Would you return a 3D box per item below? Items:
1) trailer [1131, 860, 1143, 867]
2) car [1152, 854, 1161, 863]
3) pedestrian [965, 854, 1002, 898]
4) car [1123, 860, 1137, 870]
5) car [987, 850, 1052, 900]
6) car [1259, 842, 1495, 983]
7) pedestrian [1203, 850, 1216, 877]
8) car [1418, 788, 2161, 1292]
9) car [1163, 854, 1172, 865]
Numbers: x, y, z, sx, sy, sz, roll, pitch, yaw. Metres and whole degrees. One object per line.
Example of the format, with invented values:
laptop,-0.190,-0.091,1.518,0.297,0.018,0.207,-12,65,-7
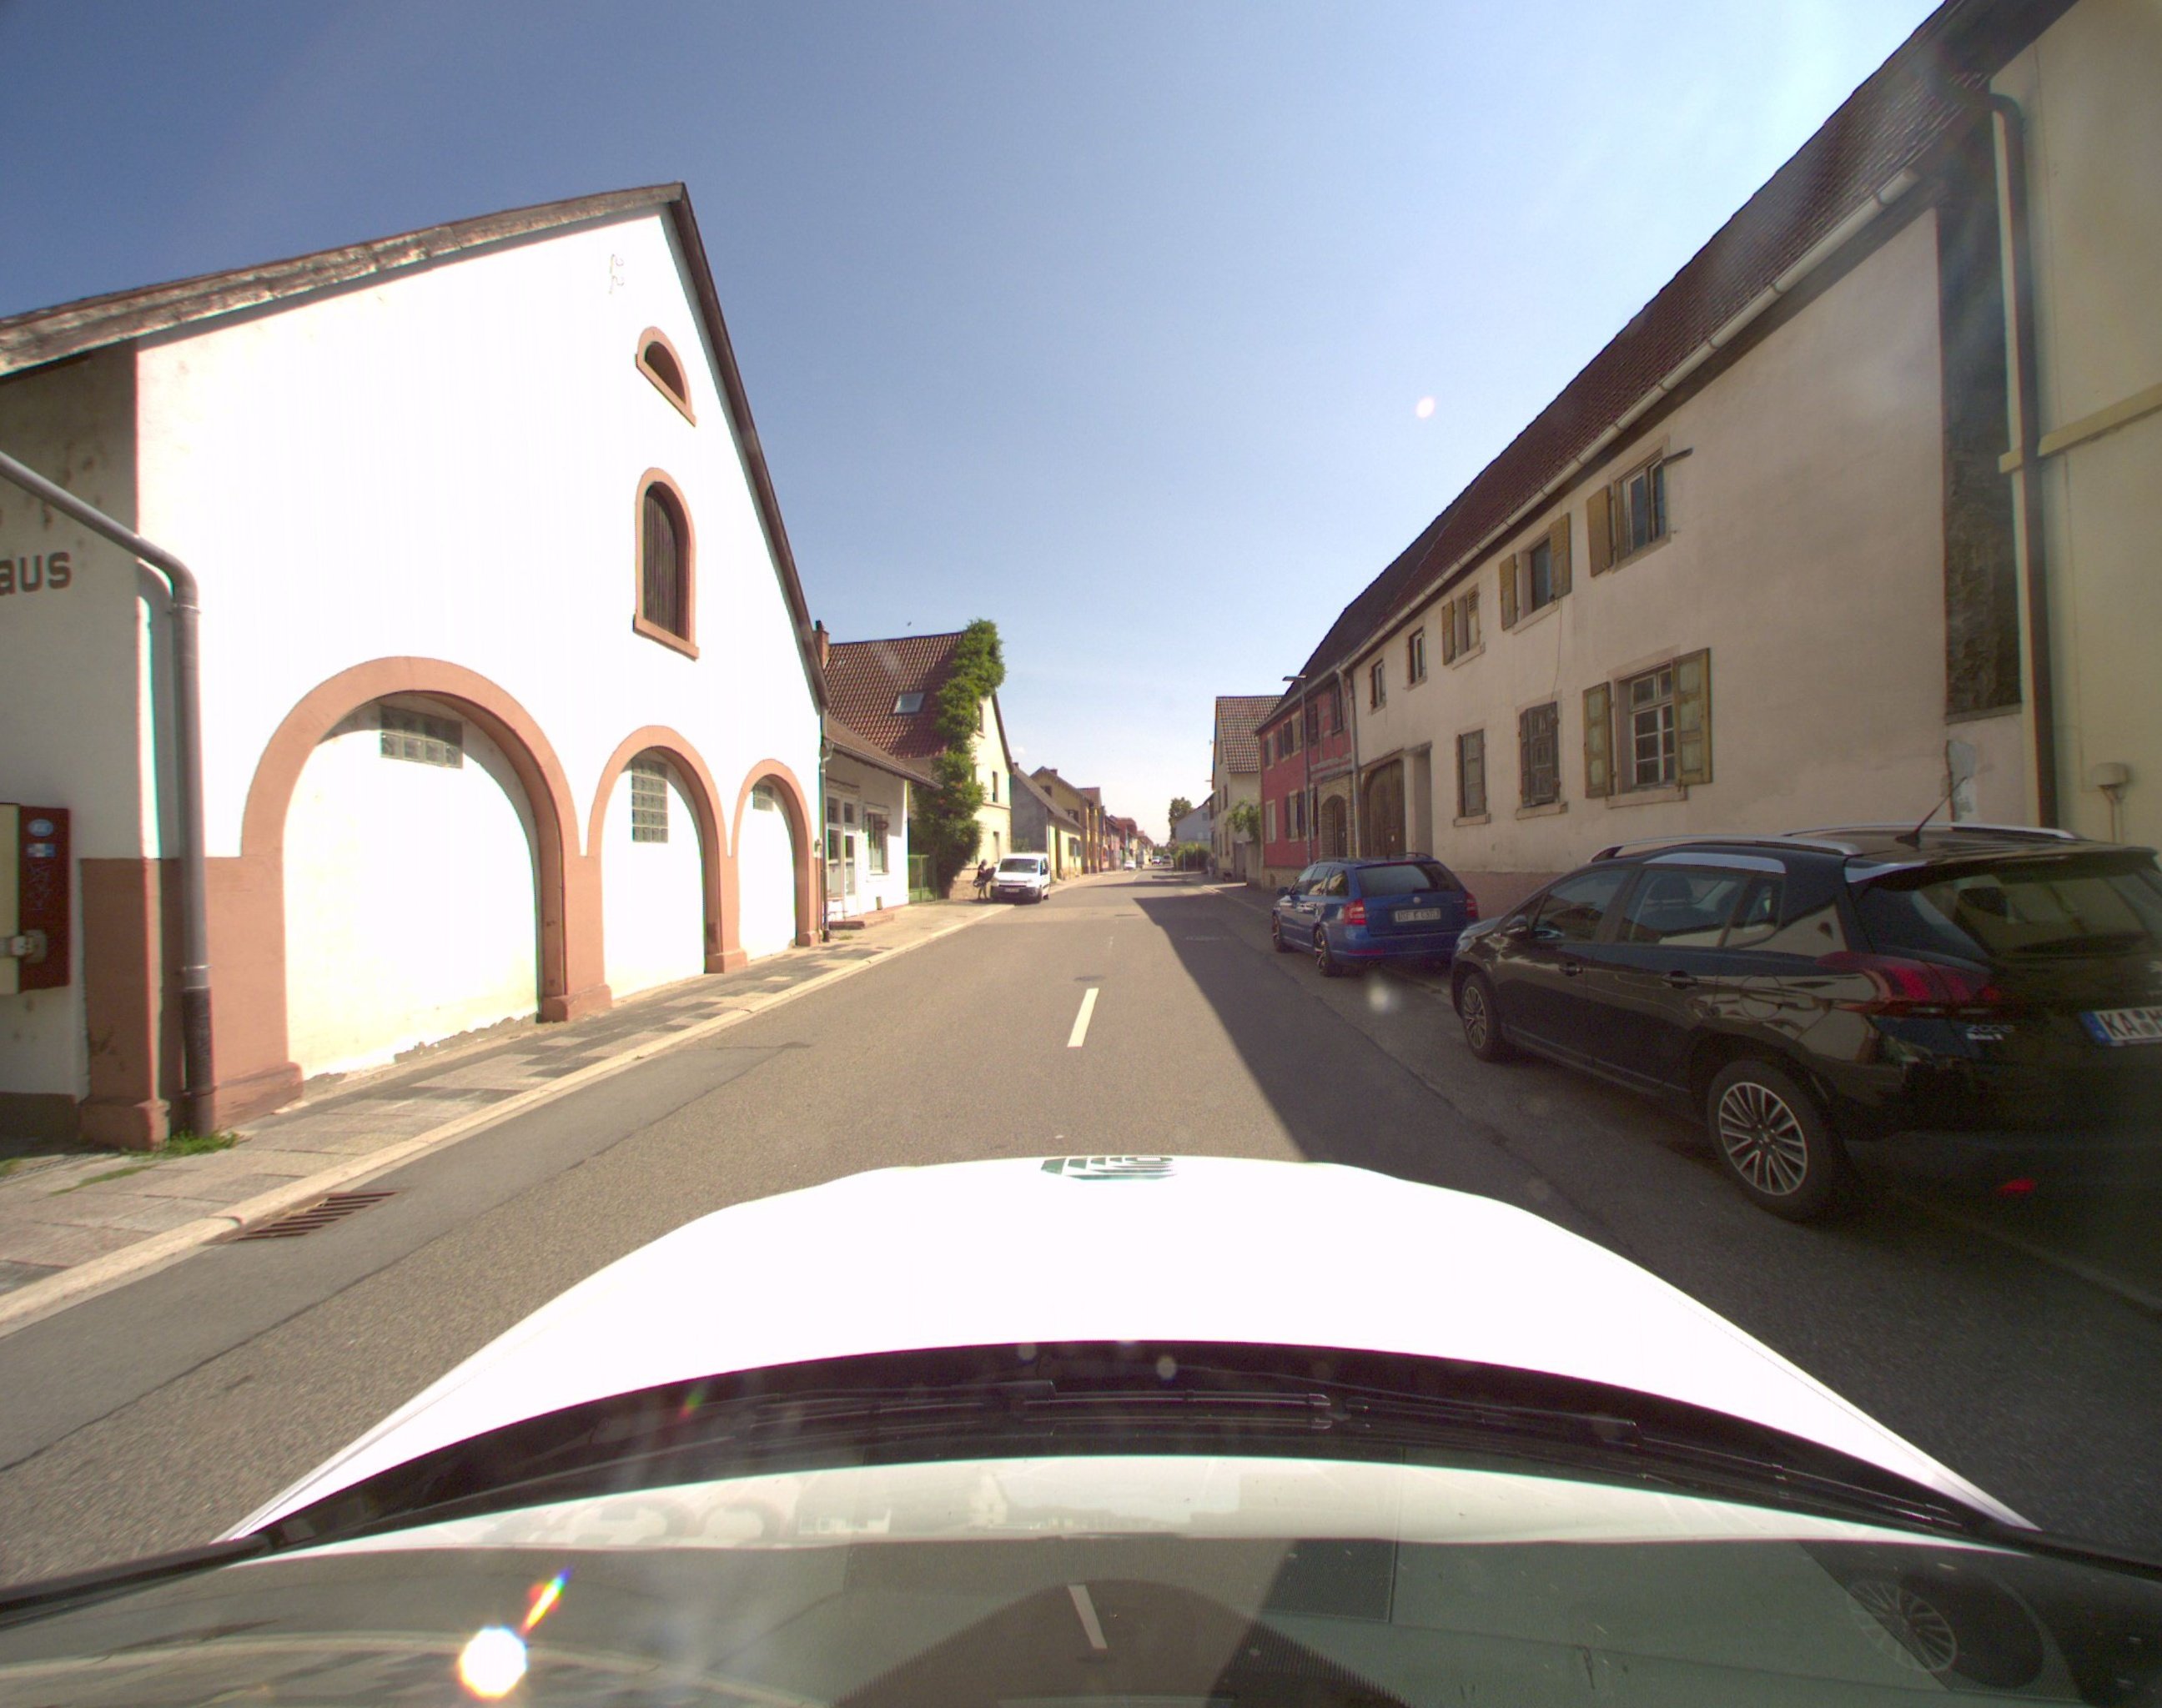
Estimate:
trailer,9.665,1.564,141.145,1.985,1.090,4.004,-2,0,4
car,19.183,1.042,206.965,2.148,2.080,4.004,-2,-2,4
pedestrian,-3.610,0.804,30.246,1.140,1.552,1.010,-1,-1,-20
car,7.465,1.708,124.390,1.984,1.442,4.005,-2,-1,5
car,-2.172,0.725,29.937,1.848,1.647,4.432,-1,0,2
car,3.766,0.667,11.242,1.692,1.469,4.411,-3,-1,1
pedestrian,8.210,0.598,52.036,0.715,1.664,0.894,-2,-1,8
car,3.568,0.594,4.637,1.692,1.584,4.029,-3,-1,2
car,21.612,1.364,204.242,2.008,2.568,4.005,-2,-1,4
